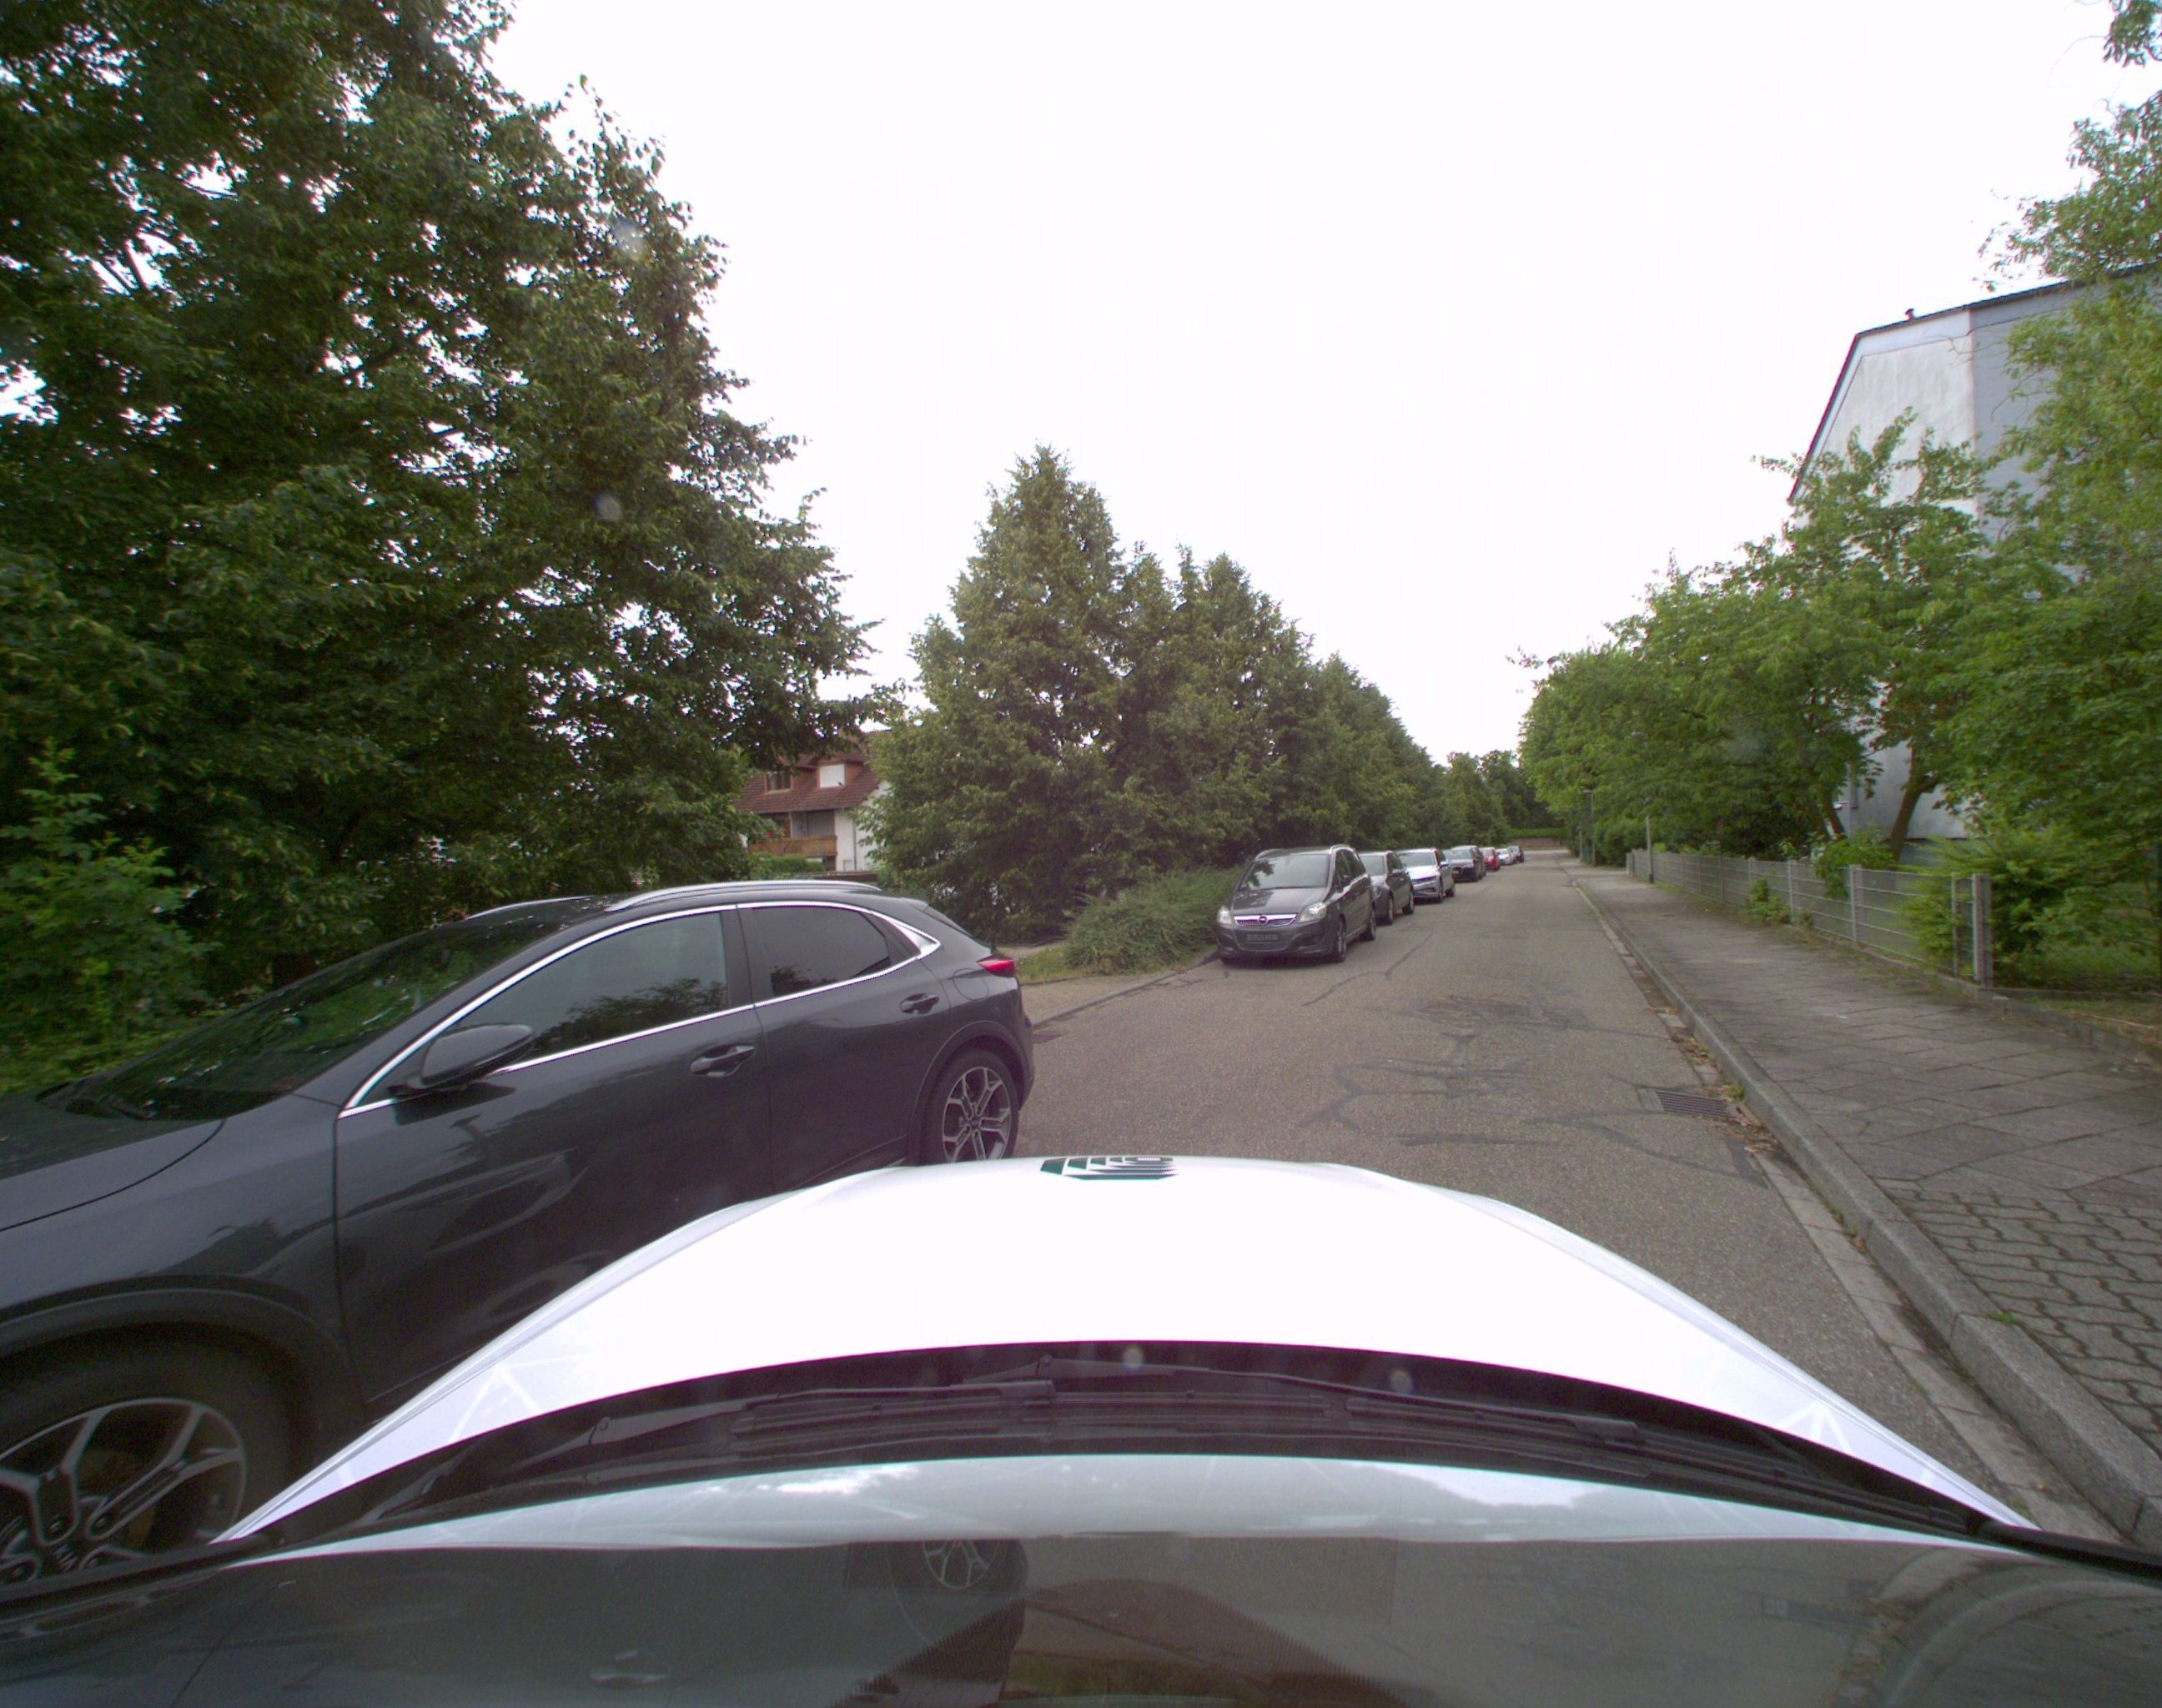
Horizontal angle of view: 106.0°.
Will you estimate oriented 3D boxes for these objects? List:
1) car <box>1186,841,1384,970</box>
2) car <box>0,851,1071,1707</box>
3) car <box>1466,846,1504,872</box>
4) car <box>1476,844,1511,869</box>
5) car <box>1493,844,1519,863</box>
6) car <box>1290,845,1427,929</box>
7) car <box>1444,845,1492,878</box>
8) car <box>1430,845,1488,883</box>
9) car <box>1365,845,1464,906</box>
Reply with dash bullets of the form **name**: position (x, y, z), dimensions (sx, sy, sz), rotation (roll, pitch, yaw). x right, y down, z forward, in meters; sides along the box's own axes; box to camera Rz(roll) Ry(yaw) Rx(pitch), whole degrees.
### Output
- **car**: position (3.353, 0.675, 12.596), dimensions (1.740, 1.593, 4.581), rotation (-5, -1, 29)
- **car**: position (-1.929, 0.840, 3.002), dimensions (1.725, 1.531, 4.222), rotation (-4, -1, 31)
- **car**: position (25.107, 0.293, 50.533), dimensions (1.735, 1.425, 4.025), rotation (-4, -1, 30)
- **car**: position (27.805, 0.134, 54.803), dimensions (1.735, 1.519, 4.025), rotation (-4, -1, 30)
- **car**: position (36.625, -0.045, 70.143), dimensions (1.735, 1.519, 4.025), rotation (-2, 0, 30)
- **car**: position (6.054, 0.635, 17.424), dimensions (1.740, 1.478, 4.333), rotation (-5, -1, 32)
- **car**: position (19.322, 0.347, 40.542), dimensions (1.735, 1.425, 4.025), rotation (-4, -1, 30)
- **car**: position (15.994, 0.389, 34.352), dimensions (1.735, 1.425, 4.025), rotation (-4, -1, 30)
- **car**: position (9.386, 0.540, 22.713), dimensions (1.759, 1.428, 4.507), rotation (-4, -1, 32)
